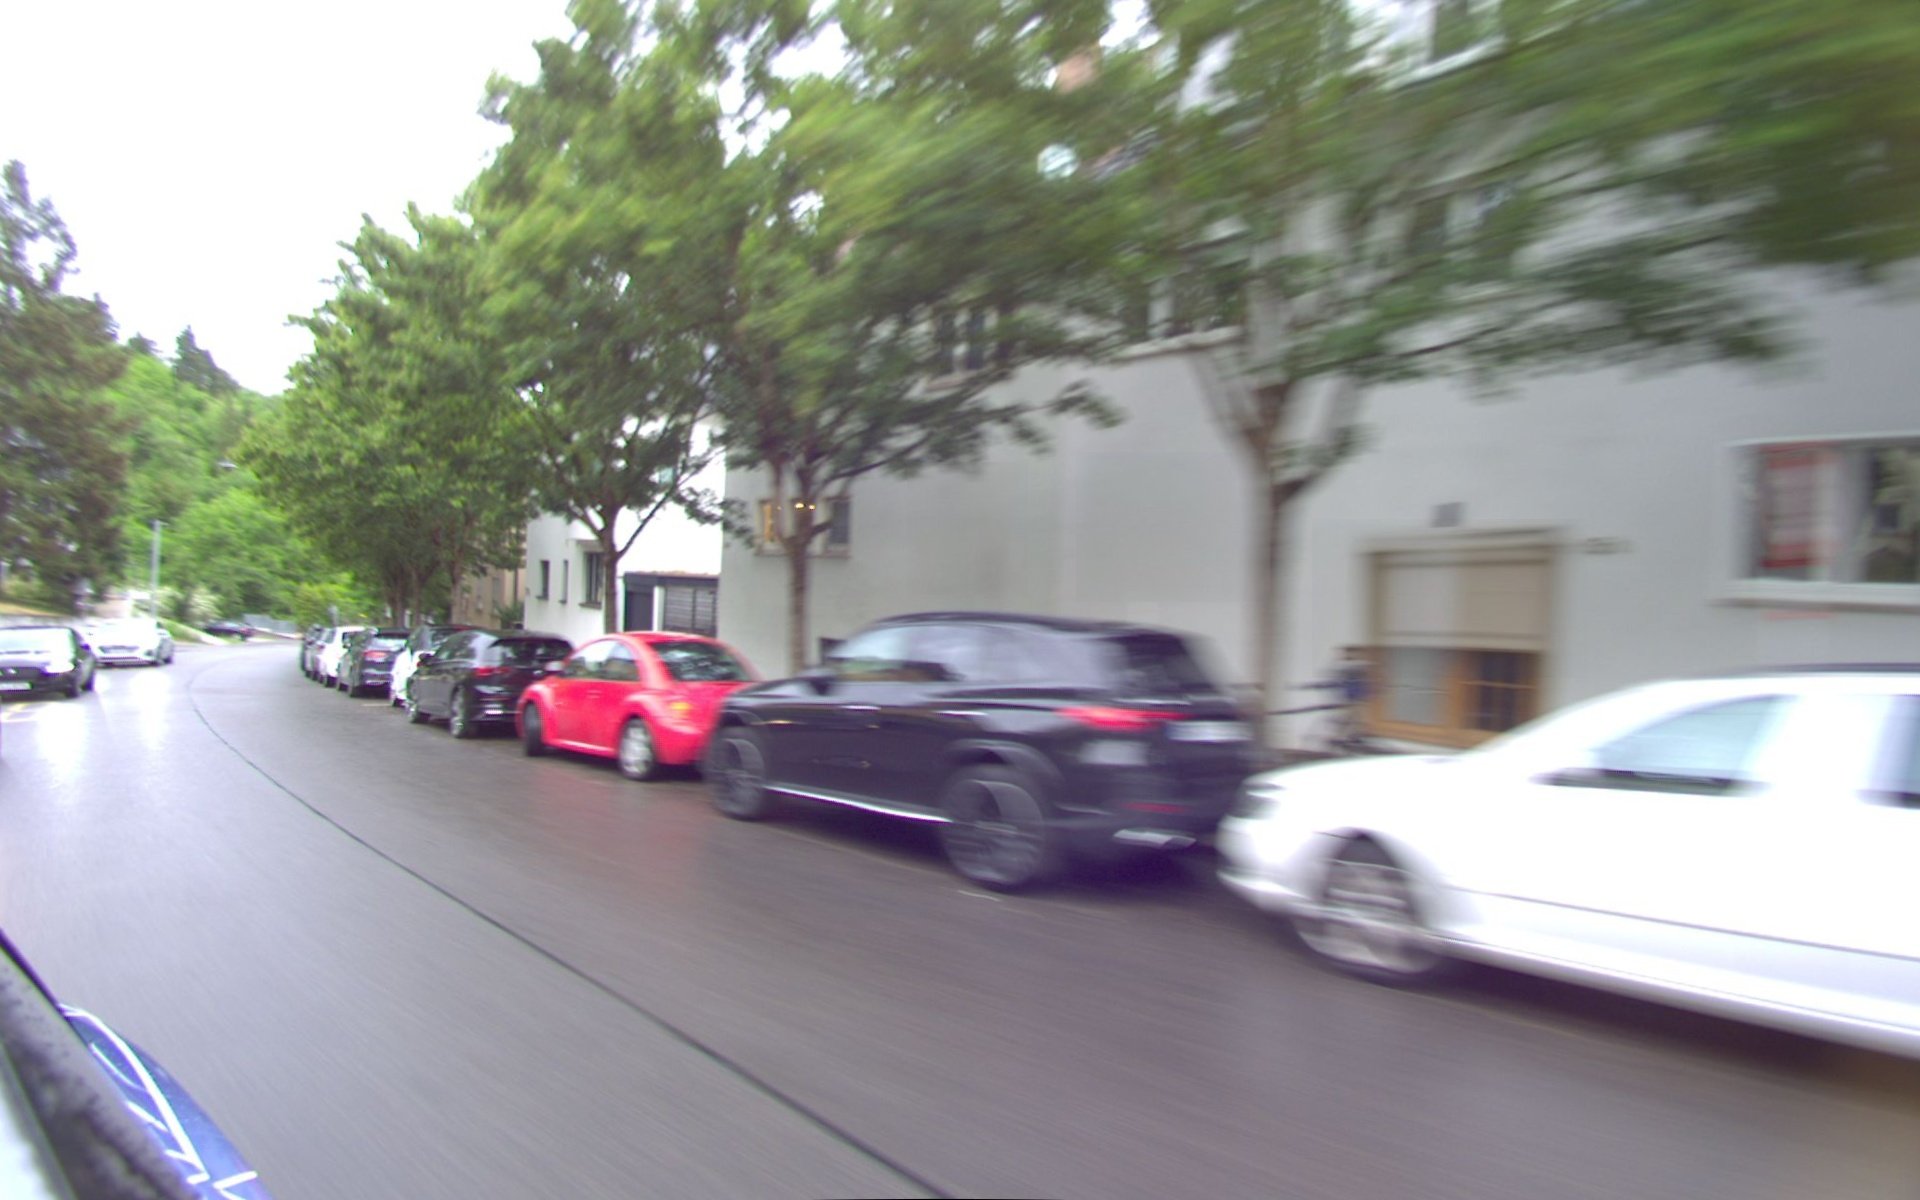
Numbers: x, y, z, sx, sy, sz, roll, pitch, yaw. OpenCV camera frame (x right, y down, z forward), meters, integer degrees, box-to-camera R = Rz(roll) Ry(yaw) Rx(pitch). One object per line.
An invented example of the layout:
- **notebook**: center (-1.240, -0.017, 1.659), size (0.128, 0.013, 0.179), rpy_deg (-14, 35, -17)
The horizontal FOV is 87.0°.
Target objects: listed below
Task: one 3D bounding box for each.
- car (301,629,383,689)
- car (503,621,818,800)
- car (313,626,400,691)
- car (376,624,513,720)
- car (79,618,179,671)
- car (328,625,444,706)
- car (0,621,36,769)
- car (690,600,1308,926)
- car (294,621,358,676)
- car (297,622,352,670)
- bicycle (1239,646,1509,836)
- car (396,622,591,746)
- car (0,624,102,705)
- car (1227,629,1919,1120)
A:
- **car**: center (-17.714, 1.650, 28.929), size (1.596, 1.481, 3.982), rpy_deg (6, -4, -36)
- **car**: center (-3.463, 1.112, 11.316), size (3.850, 1.576, 1.614), rpy_deg (0, -4, 44)
- **car**: center (-15.402, 1.470, 25.762), size (1.553, 1.500, 3.478), rpy_deg (6, -5, -35)
- **car**: center (-9.517, 1.277, 18.573), size (1.535, 1.522, 3.391), rpy_deg (6, -4, -37)
- **car**: center (-28.369, 1.515, 34.698), size (1.980, 1.674, 4.458), rpy_deg (3, -3, -31)
- **car**: center (-12.694, 1.389, 22.249), size (1.642, 1.500, 4.486), rpy_deg (6, -4, -36)
- **car**: center (-10.111, 0.953, 9.501), size (1.553, 1.463, 3.597), rpy_deg (-1, 0, -33)
- **car**: center (-0.032, 0.900, 7.305), size (1.662, 1.621, 4.580), rpy_deg (4, -4, -44)
- **car**: center (-21.955, 1.646, 34.996), size (1.596, 1.671, 3.934), rpy_deg (6, -4, -34)
- **car**: center (-25.090, 1.793, 39.908), size (1.571, 1.671, 3.934), rpy_deg (8, -5, -33)
- **bicycle**: center (3.132, 1.003, 7.862), size (0.610, 1.261, 1.910), rpy_deg (1, -2, -35)
- **car**: center (-6.932, 1.151, 14.807), size (1.535, 1.500, 4.105), rpy_deg (6, -4, -39)
- **car**: center (-18.769, 1.262, 20.624), size (1.780, 1.500, 4.025), rpy_deg (4, -3, -39)
- **car**: center (3.402, 0.908, 3.958), size (1.662, 1.520, 4.318), rpy_deg (4, -4, -45)
